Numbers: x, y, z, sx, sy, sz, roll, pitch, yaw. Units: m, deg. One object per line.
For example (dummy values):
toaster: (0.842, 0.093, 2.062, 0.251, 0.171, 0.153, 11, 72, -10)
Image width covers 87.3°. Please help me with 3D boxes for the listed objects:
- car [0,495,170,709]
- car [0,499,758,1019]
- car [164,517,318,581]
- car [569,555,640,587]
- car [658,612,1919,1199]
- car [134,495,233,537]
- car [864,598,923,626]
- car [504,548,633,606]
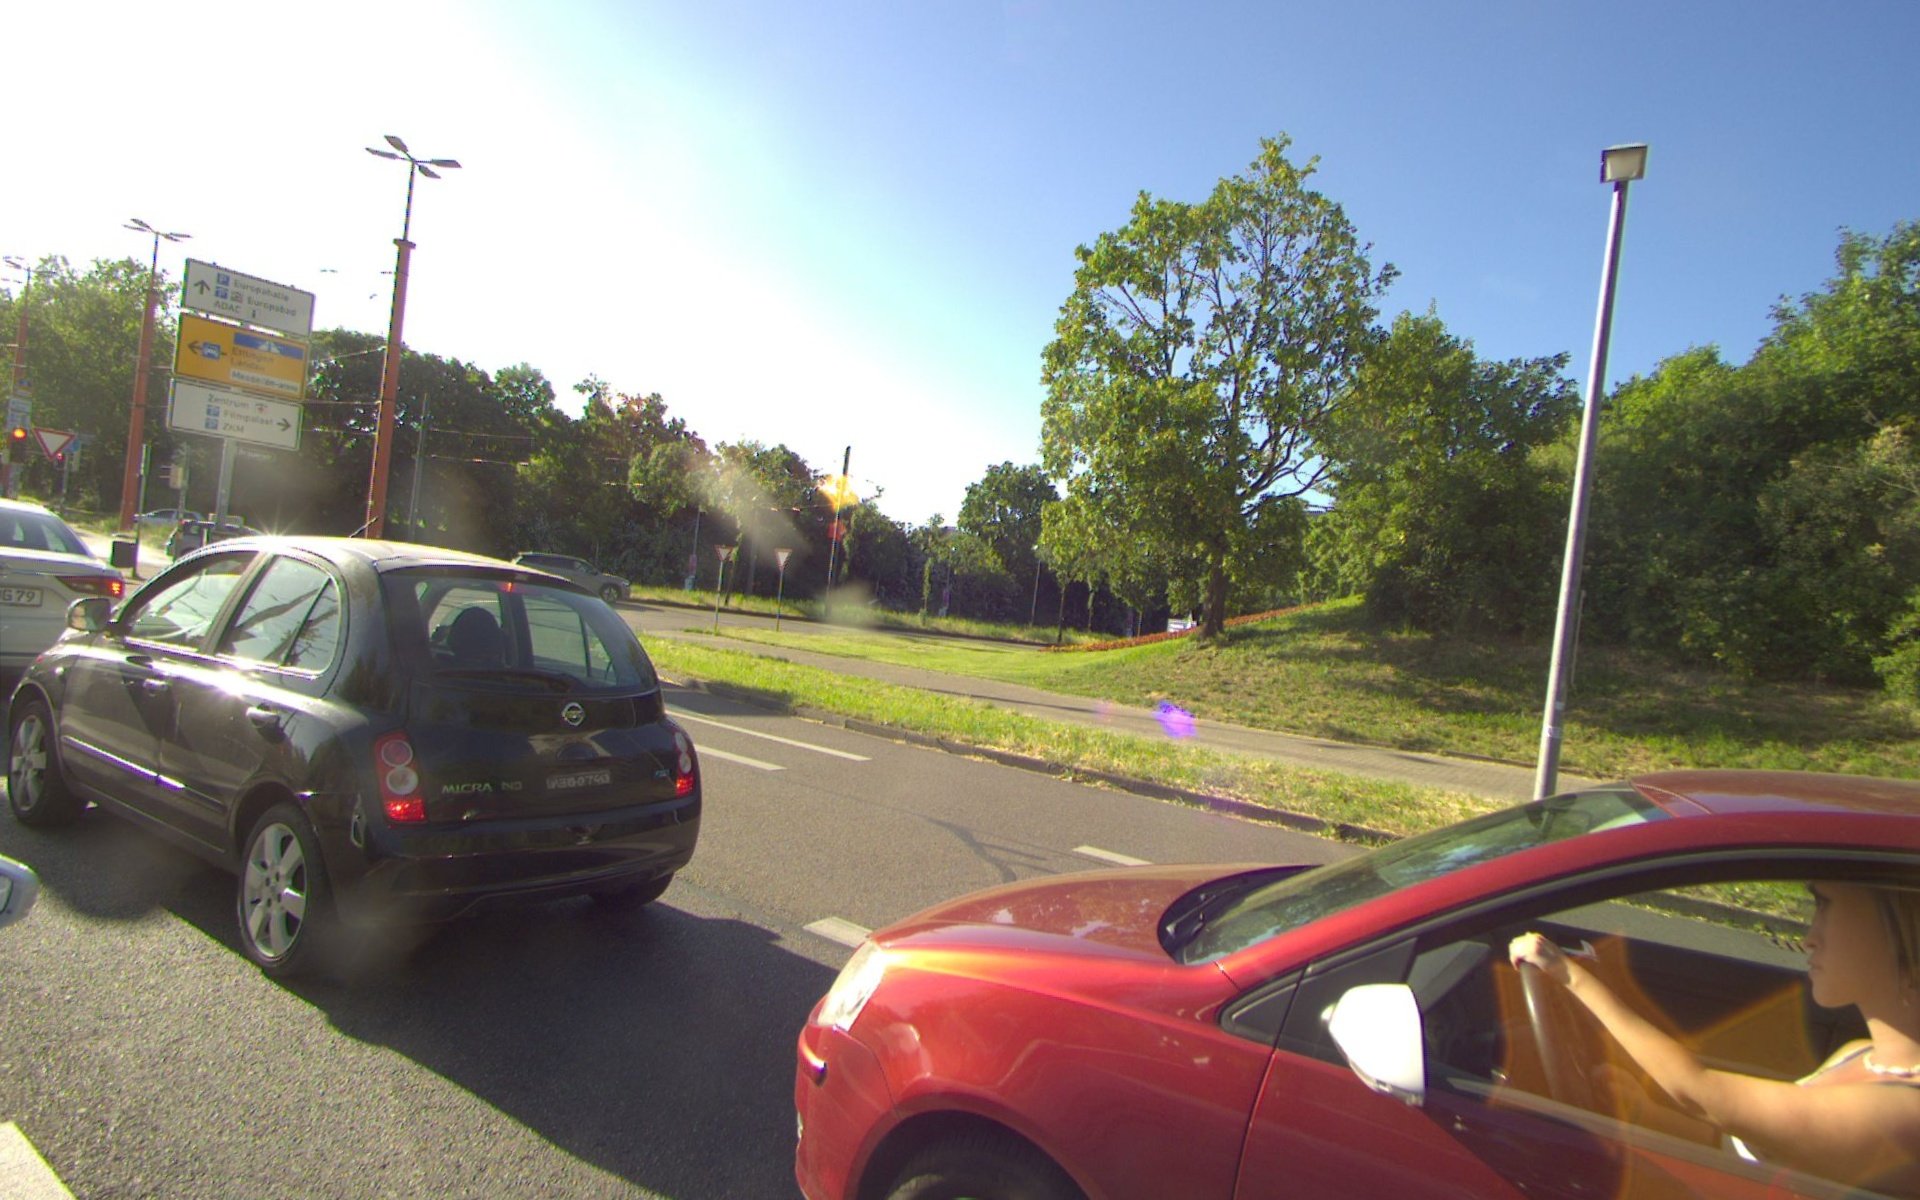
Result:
car: (-8.370, -0.174, 8.075, 4.256, 1.457, 1.802, 6, -2, 33)
car: (-2.798, 0.467, 4.620, 3.385, 1.457, 1.579, 6, -2, 32)
car: (-23.229, -1.622, 32.671, 3.802, 1.458, 1.644, 8, -1, -31)
car: (-22.297, -1.807, 63.134, 3.774, 1.419, 1.639, 9, -1, -38)
car: (1.345, 1.002, 1.865, 3.629, 1.477, 1.579, 6, -2, 32)
car: (-40.676, -4.364, 52.792, 3.764, 1.528, 1.644, 8, -1, -31)
car: (-4.695, 0.872, 71.501, 3.774, 1.419, 1.639, 9, -1, -38)
car: (-15.849, -0.921, 40.797, 4.592, 1.666, 1.645, 8, -1, -29)
